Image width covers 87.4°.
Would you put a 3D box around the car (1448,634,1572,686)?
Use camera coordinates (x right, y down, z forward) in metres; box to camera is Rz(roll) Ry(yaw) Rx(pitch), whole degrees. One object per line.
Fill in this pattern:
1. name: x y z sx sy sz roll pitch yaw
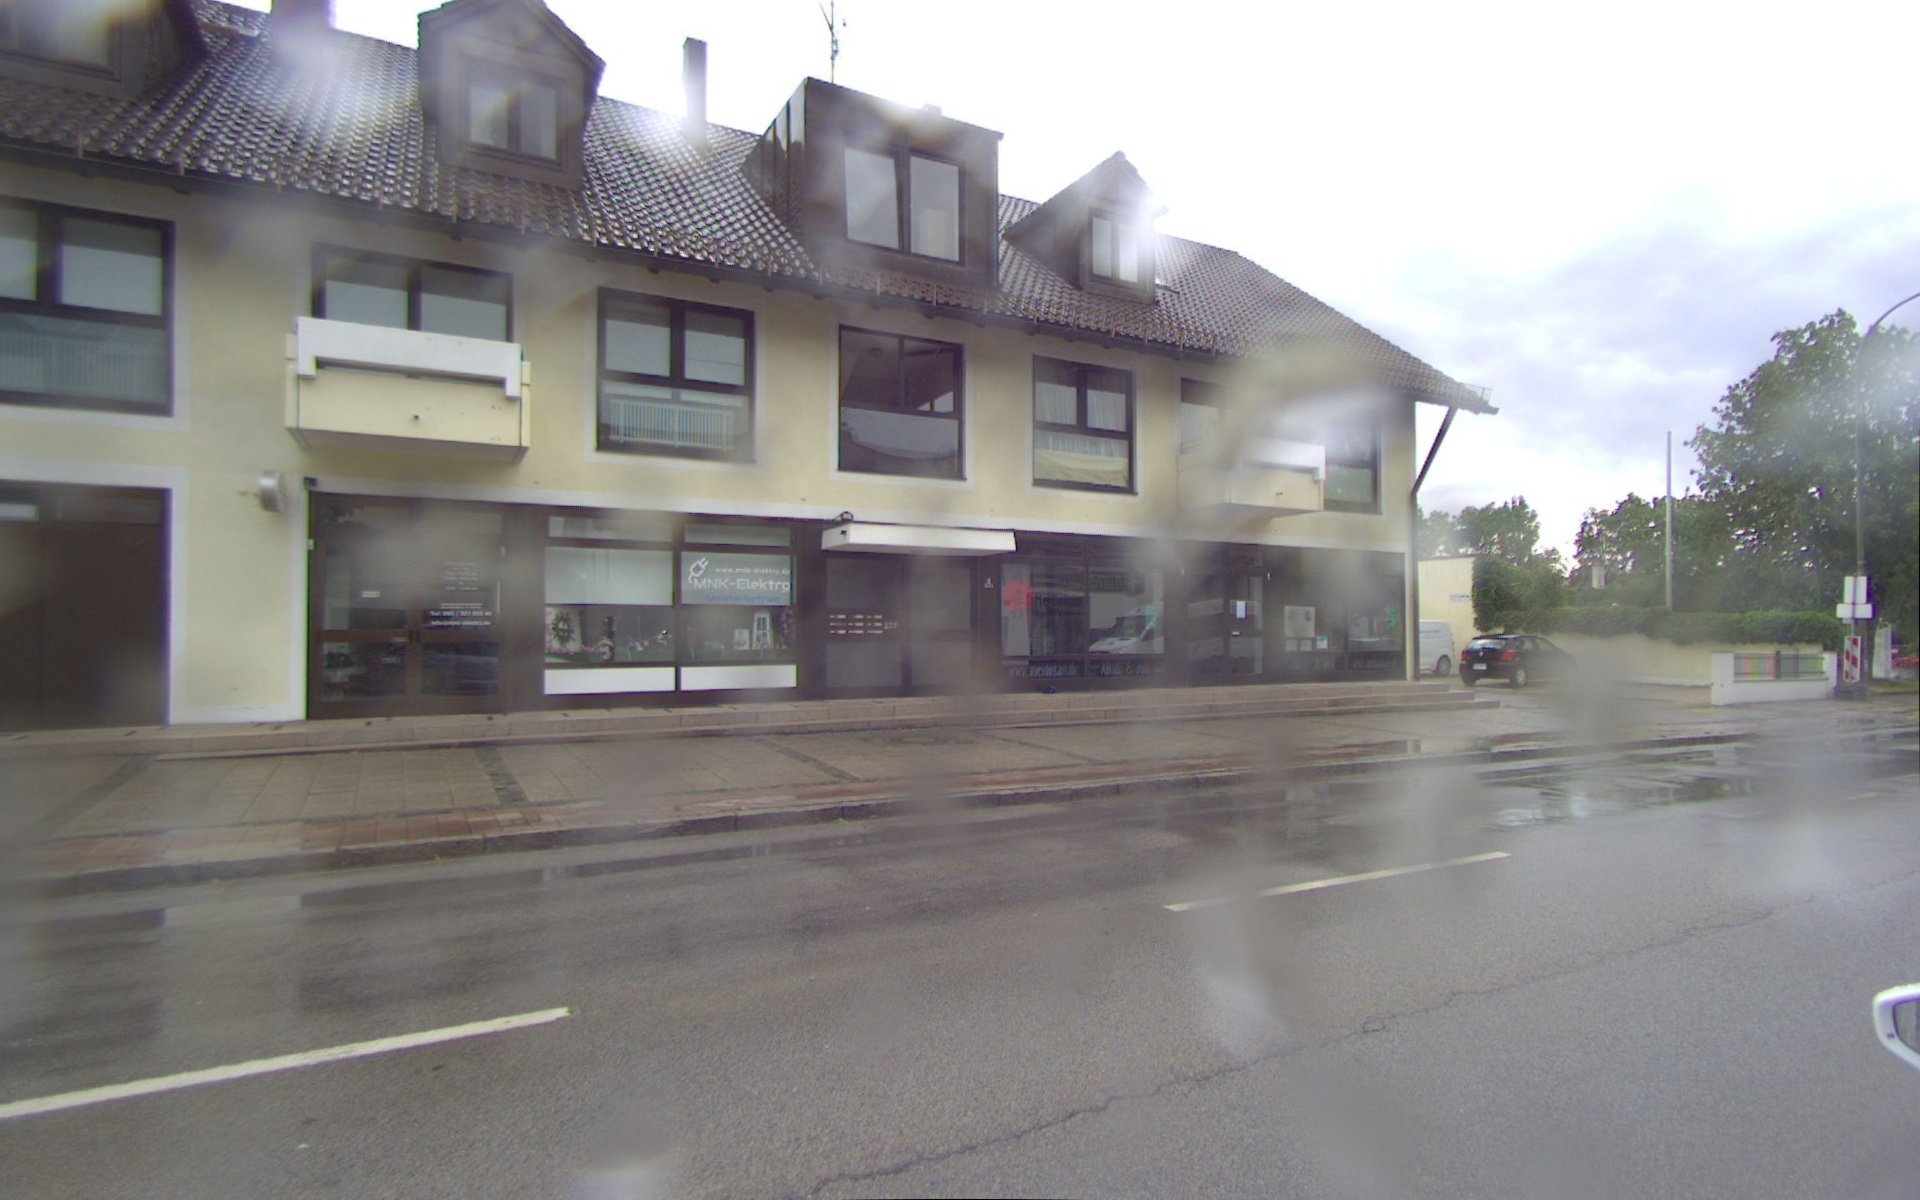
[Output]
1. car: 15.679 1.695 28.606 3.470 1.398 1.599 2 -3 -32

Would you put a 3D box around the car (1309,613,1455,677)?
1. car: 13.759 1.469 32.705 4.682 1.944 1.955 2 -3 -31
